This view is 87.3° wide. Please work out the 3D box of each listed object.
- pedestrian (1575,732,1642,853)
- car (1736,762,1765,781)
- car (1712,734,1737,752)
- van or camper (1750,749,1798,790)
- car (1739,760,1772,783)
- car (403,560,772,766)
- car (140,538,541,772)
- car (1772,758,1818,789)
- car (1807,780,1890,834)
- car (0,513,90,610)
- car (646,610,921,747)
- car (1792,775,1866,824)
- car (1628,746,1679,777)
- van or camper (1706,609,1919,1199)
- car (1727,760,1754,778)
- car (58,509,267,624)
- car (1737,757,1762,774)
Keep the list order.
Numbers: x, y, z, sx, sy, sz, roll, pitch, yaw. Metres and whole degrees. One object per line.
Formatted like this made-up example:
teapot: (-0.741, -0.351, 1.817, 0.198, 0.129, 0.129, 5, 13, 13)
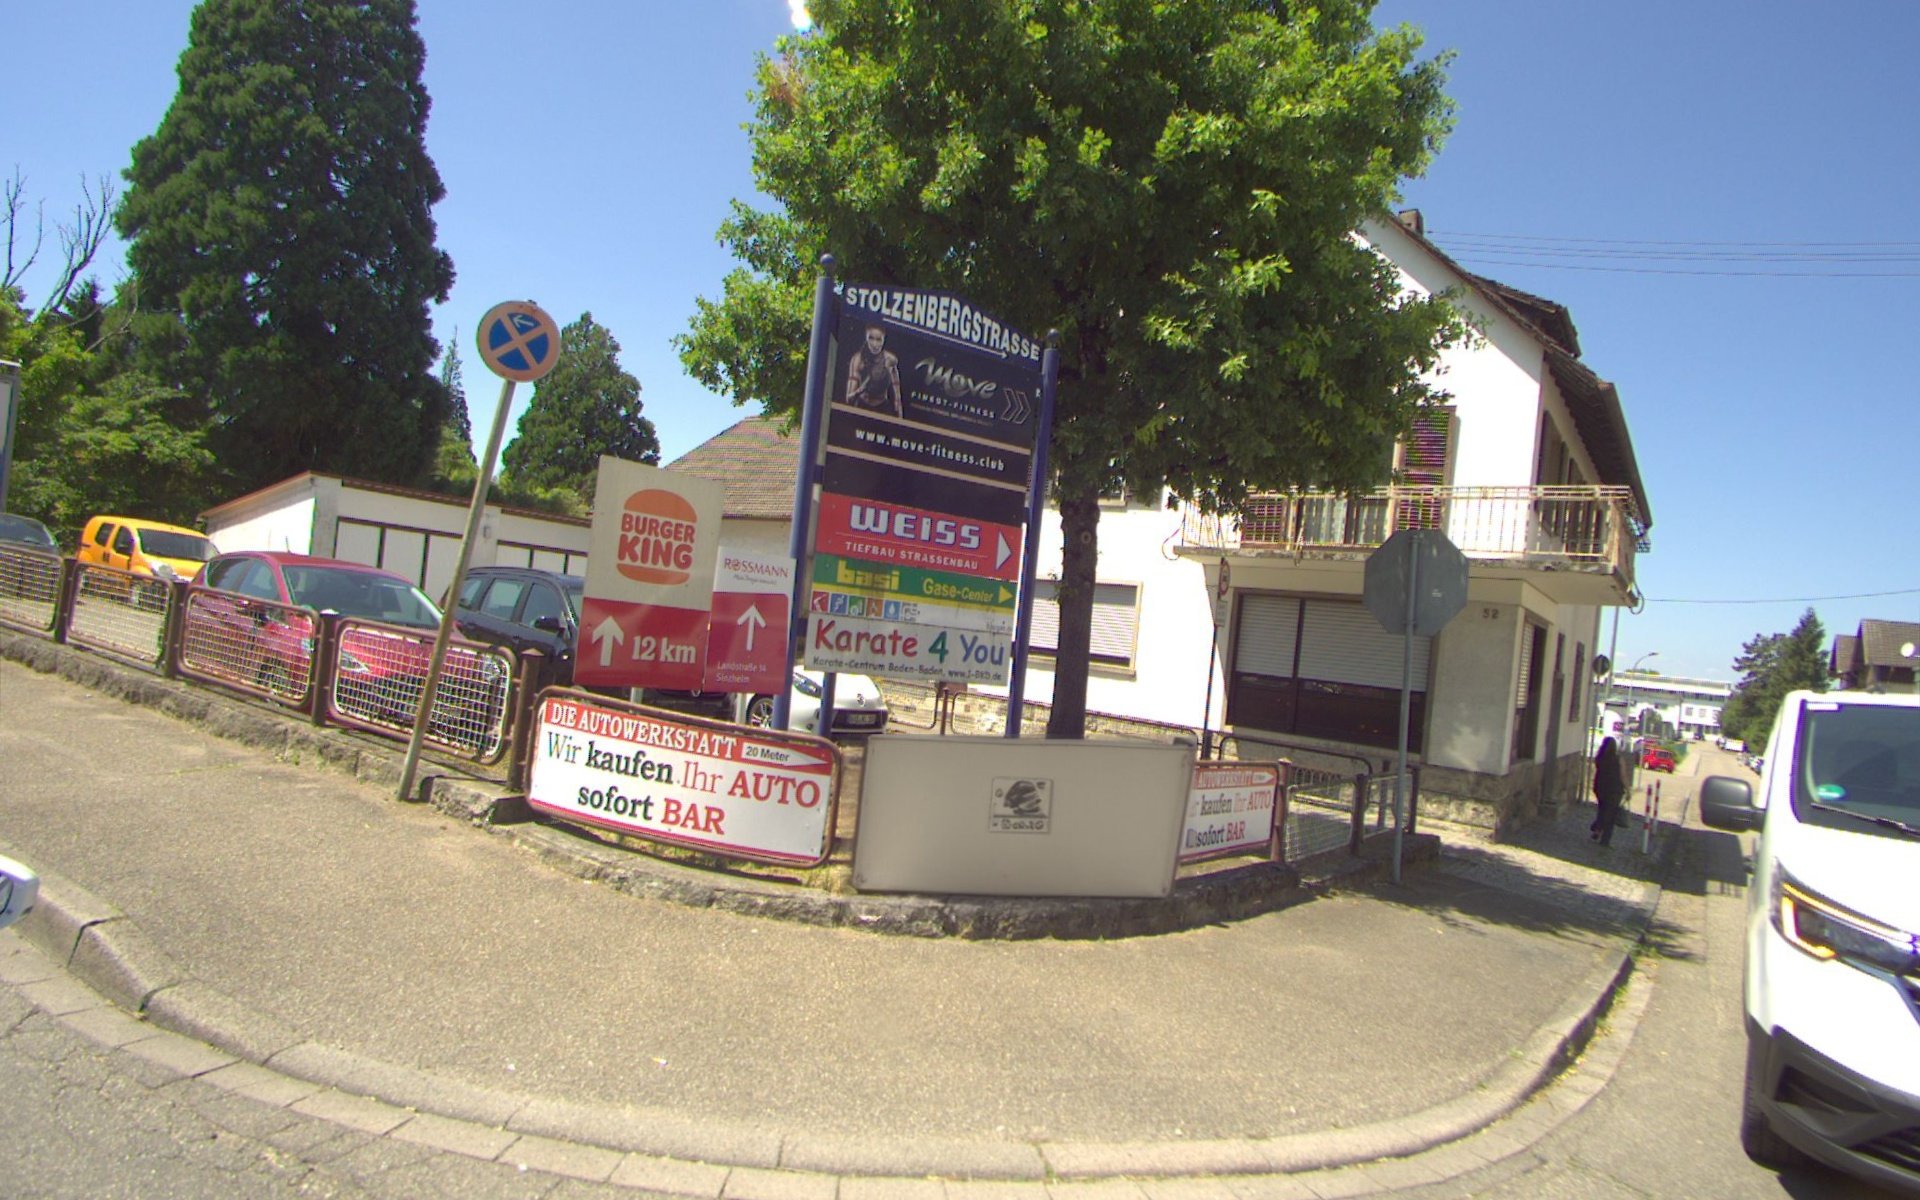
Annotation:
pedestrian: (9.659, 2.848, 15.005, 0.563, 1.620, 0.696, 10, 2, 29)
car: (77.928, 16.882, 99.164, 1.799, 1.562, 3.397, 6, -3, 34)
car: (123.094, 23.050, 162.055, 2.615, 2.371, 5.149, 6, -3, 34)
van or camper: (60.625, 12.612, 75.019, 2.191, 2.628, 5.023, 6, -3, 36)
car: (68.483, 14.783, 86.676, 1.799, 1.562, 3.397, 6, -3, 34)
car: (-4.277, 0.618, 11.208, 4.395, 1.684, 1.712, 5, -3, 39)
car: (-5.674, 0.397, 9.062, 3.781, 1.542, 1.712, 6, -1, 37)
car: (53.732, 11.141, 64.784, 1.799, 1.562, 3.397, 6, -3, 34)
car: (34.403, 7.973, 39.055, 1.799, 1.562, 3.397, 6, -3, 34)
car: (-18.351, -0.830, 19.293, 3.340, 1.559, 1.635, 5, -5, 36)
car: (-2.338, 0.981, 12.973, 3.339, 1.285, 1.710, 5, -2, 42)
car: (36.689, 8.409, 42.566, 1.799, 1.562, 3.397, 6, -3, 34)
car: (48.113, 11.210, 69.857, 1.773, 1.673, 3.905, 7, -3, 19)
van or camper: (4.938, 1.419, 4.736, 1.972, 1.999, 5.346, 3, -5, 39)
car: (83.465, 18.022, 107.597, 1.799, 1.562, 3.397, 6, -3, 34)
car: (-16.780, -0.716, 21.144, 4.094, 1.818, 1.782, 6, -5, 29)
car: (88.202, 18.473, 112.456, 1.799, 1.562, 3.397, 6, -3, 34)
